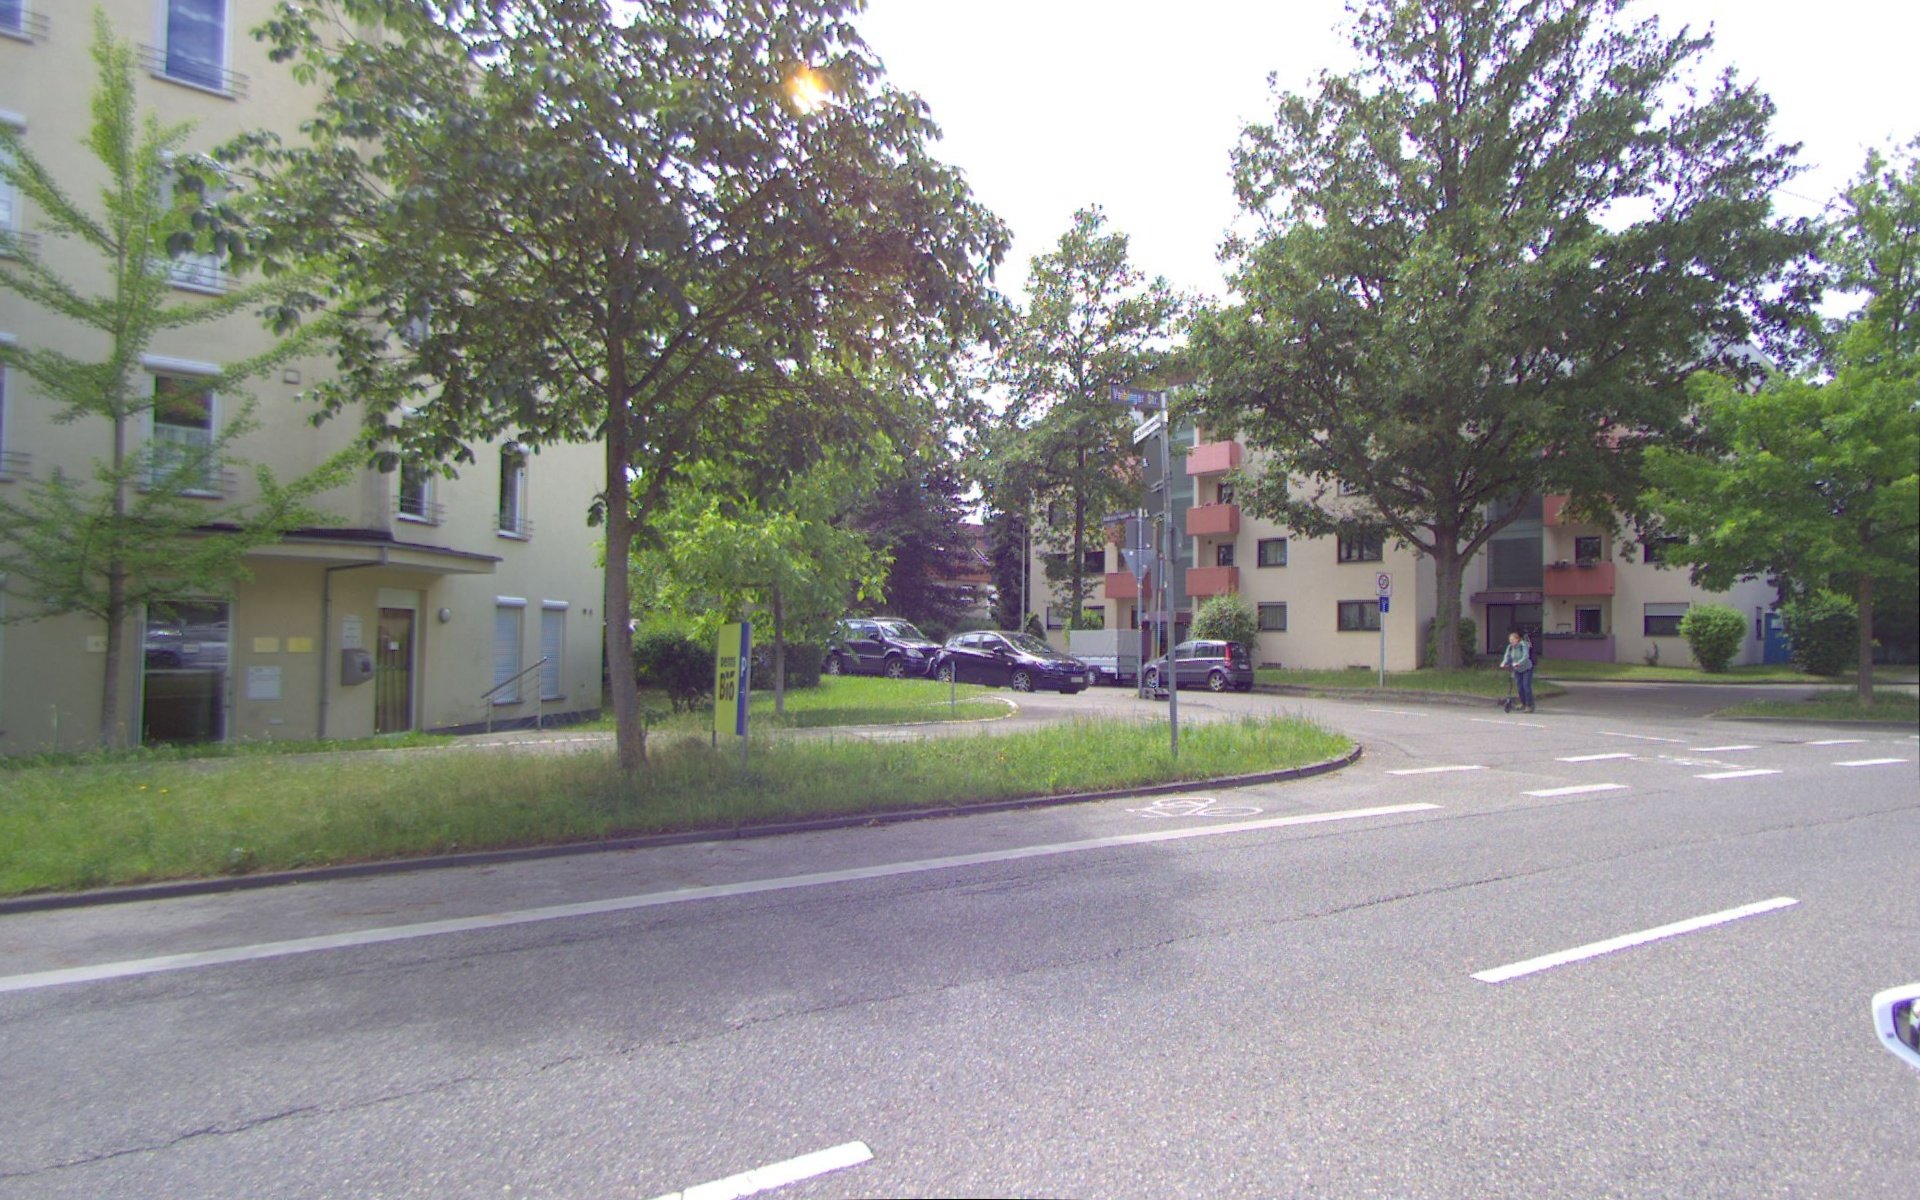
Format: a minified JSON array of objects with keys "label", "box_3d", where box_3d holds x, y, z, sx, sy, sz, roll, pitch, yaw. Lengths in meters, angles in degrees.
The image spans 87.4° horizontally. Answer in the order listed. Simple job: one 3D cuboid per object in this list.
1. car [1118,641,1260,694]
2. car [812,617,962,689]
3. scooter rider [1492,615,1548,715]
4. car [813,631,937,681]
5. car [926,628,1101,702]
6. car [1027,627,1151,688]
[{"label":"car","box_3d":[6.939,2.011,30.704,3.945,1.471,1.687,-2,-3,43]},{"label":"car","box_3d":[-2.098,1.389,27.778,1.857,1.675,4.379,2,0,-41]},{"label":"scooter rider","box_3d":[11.793,1.360,21.173,0.785,2.040,0.673,2,0,-30]},{"label":"car","box_3d":[-3.291,2.110,38.802,4.337,1.817,2.124,-1,-2,28]},{"label":"car","box_3d":[1.182,1.469,23.749,1.725,1.417,4.100,2,0,-42]},{"label":"car","box_3d":[4.330,2.014,34.086,1.833,1.867,3.952,7,-8,-42]}]
